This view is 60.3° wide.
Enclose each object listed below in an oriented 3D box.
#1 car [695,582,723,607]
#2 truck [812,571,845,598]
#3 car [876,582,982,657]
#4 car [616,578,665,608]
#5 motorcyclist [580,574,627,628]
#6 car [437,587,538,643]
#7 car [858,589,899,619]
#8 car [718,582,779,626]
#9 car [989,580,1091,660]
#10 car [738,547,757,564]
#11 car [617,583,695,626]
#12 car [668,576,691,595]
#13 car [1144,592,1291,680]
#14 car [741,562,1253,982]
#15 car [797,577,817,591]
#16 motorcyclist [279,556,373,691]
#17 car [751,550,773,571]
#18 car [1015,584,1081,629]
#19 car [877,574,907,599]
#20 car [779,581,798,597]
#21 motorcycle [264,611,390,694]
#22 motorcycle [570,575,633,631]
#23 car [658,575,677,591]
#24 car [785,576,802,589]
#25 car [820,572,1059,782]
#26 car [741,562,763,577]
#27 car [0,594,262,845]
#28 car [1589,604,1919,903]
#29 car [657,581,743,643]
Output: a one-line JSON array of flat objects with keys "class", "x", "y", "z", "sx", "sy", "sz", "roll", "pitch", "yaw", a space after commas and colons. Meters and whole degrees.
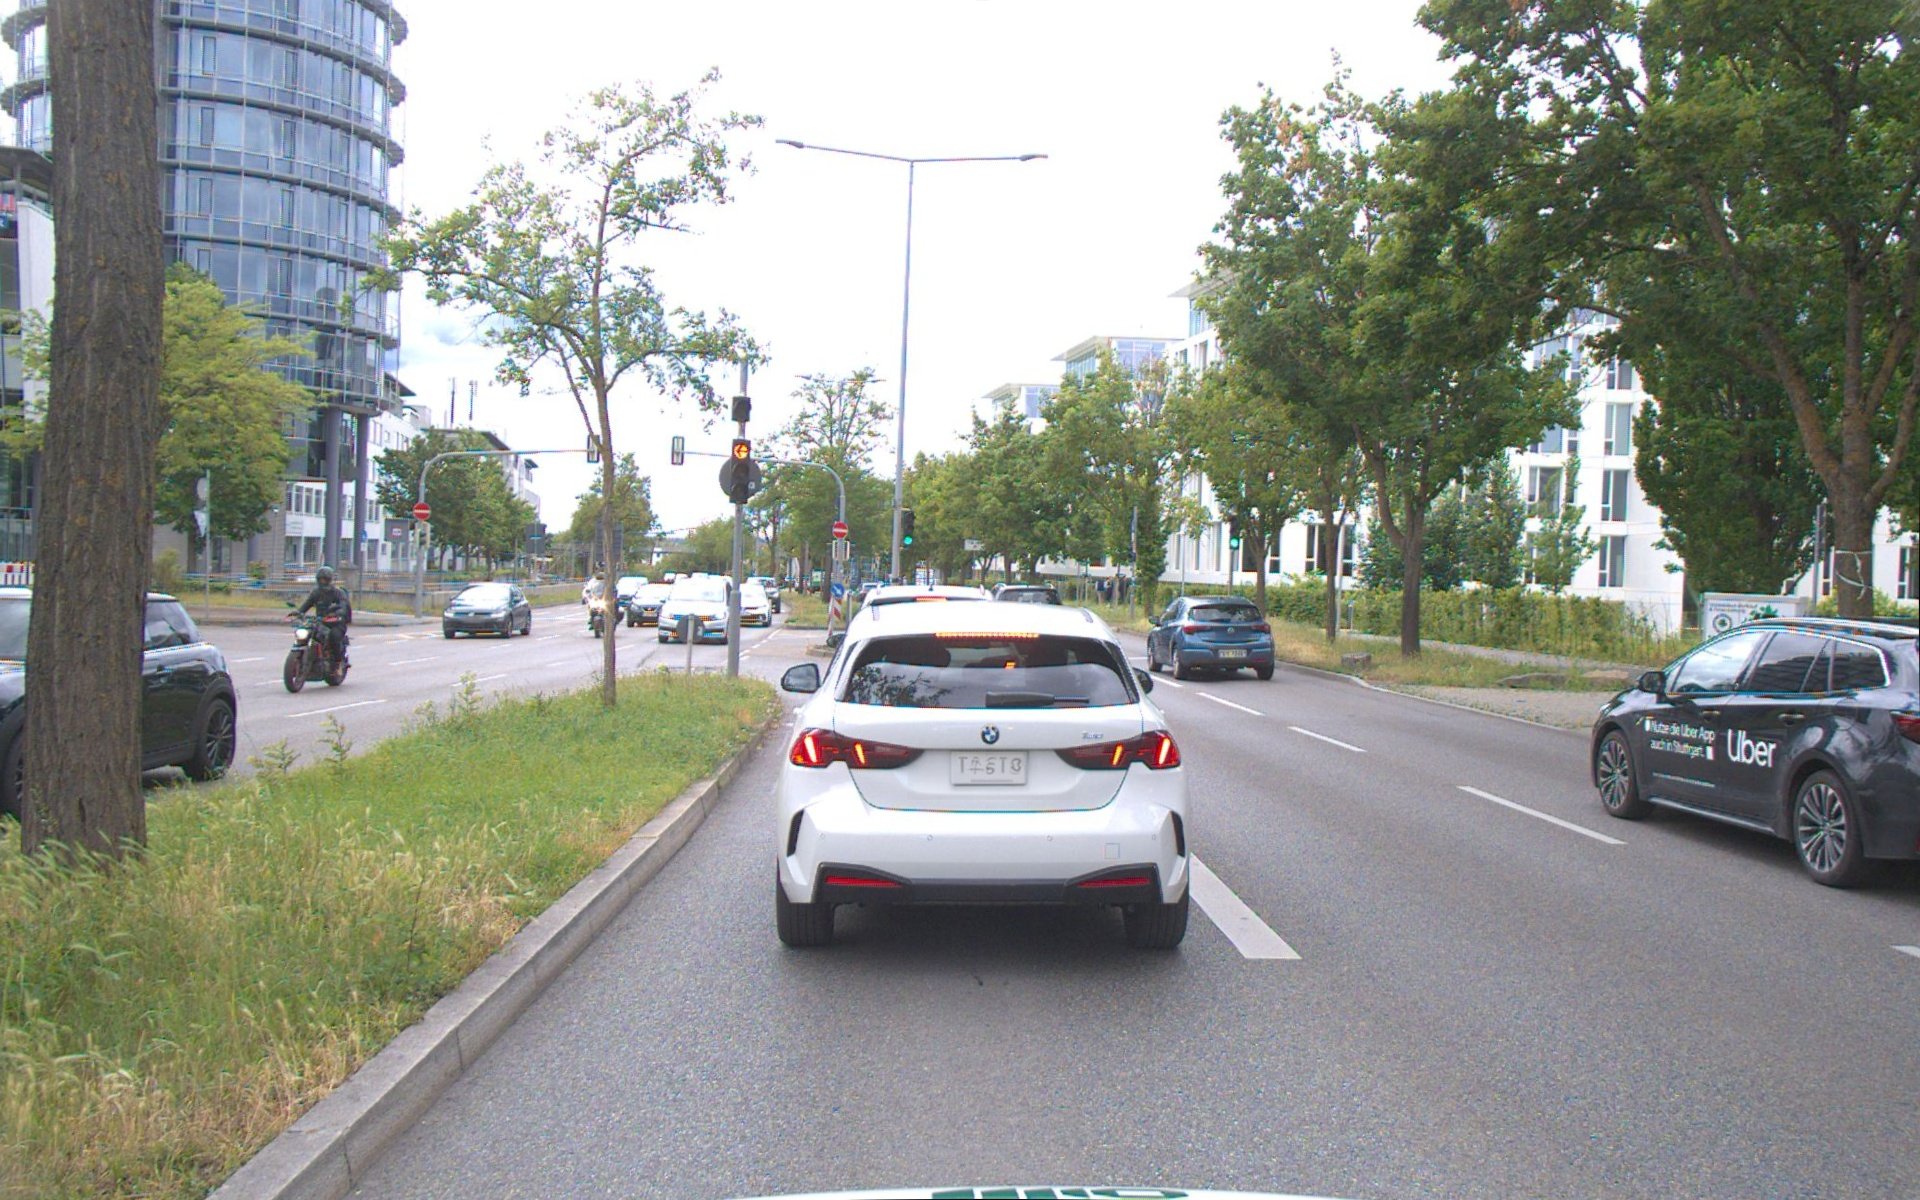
[{"class": "car", "x": -21.710, "y": -0.480, "z": 143.081, "sx": 1.954, "sy": 2.046, "sz": 4.321, "roll": 1, "pitch": 0, "yaw": -4}, {"class": "truck", "x": -13.299, "y": -1.503, "z": 166.848, "sx": 2.806, "sy": 2.563, "sz": 6.275, "roll": 2, "pitch": 0, "yaw": -9}, {"class": "car", "x": -0.628, "y": 0.416, "z": 37.156, "sx": 1.951, "sy": 1.534, "sz": 4.002, "roll": 2, "pitch": 0, "yaw": 5}, {"class": "car", "x": -15.469, "y": -0.343, "z": 80.284, "sx": 1.673, "sy": 1.443, "sz": 3.802, "roll": 0, "pitch": 0, "yaw": -1}, {"class": "motorcyclist", "x": -9.659, "y": 0.019, "z": 44.909, "sx": 0.891, "sy": 1.416, "sz": 1.673, "roll": 1, "pitch": 0, "yaw": -1}, {"class": "car", "x": -12.694, "y": 0.378, "z": 44.652, "sx": 1.673, "sy": 1.443, "sz": 3.802, "roll": 0, "pitch": 0, "yaw": -1}, {"class": "car", "x": -4.710, "y": 0.187, "z": 94.816, "sx": 2.014, "sy": 1.511, "sz": 4.967, "roll": -3, "pitch": 1, "yaw": -6}, {"class": "car", "x": -7.316, "y": 0.112, "z": 57.517, "sx": 1.633, "sy": 1.429, "sz": 3.999, "roll": 1, "pitch": 0, "yaw": -1}, {"class": "car", "x": 1.710, "y": 0.414, "z": 36.852, "sx": 1.927, "sy": 1.669, "sz": 4.311, "roll": 0, "pitch": 0, "yaw": -2}, {"class": "car", "x": -27.783, "y": -5.815, "z": 216.550, "sx": 1.953, "sy": 2.048, "sz": 3.999, "roll": 3, "pitch": 0, "yaw": -1}, {"class": "car", "x": -10.346, "y": 0.126, "z": 56.480, "sx": 1.953, "sy": 1.378, "sz": 3.999, "roll": 1, "pitch": 0, "yaw": -1}, {"class": "car", "x": -30.489, "y": -1.549, "z": 179.807, "sx": 1.954, "sy": 2.046, "sz": 4.321, "roll": 1, "pitch": 0, "yaw": -4}, {"class": "car", "x": 4.658, "y": 0.605, "z": 30.524, "sx": 1.927, "sy": 1.464, "sz": 4.311, "roll": -1, "pitch": 0, "yaw": -2}, {"class": "car", "x": 0.188, "y": 0.630, "z": 8.017, "sx": 1.824, "sy": 1.474, "sz": 4.001, "roll": 2, "pitch": 0, "yaw": 1}, {"class": "car", "x": -16.894, "y": -1.771, "z": 182.616, "sx": 1.956, "sy": 1.534, "sz": 3.993, "roll": 1, "pitch": 0, "yaw": -8}, {"class": "motorcyclist", "x": -9.109, "y": 0.329, "z": 23.801, "sx": 0.831, "sy": 1.869, "sz": 1.259, "roll": 1, "pitch": 0, "yaw": -1}, {"class": "car", "x": -20.771, "y": -4.125, "z": 174.018, "sx": 1.954, "sy": 2.045, "sz": 4.321, "roll": 3, "pitch": 0, "yaw": -4}, {"class": "car", "x": 3.130, "y": 0.220, "z": 59.595, "sx": 1.758, "sy": 1.498, "sz": 4.695, "roll": 2, "pitch": 0, "yaw": -4}, {"class": "car", "x": -4.805, "y": -0.952, "z": 116.219, "sx": 1.954, "sy": 1.624, "sz": 3.997, "roll": 2, "pitch": 0, "yaw": -4}, {"class": "car", "x": -21.912, "y": -1.394, "z": 211.165, "sx": 1.953, "sy": 2.049, "sz": 3.999, "roll": 1, "pitch": 0, "yaw": -1}, {"class": "motorcycle", "x": -9.149, "y": 0.730, "z": 24.025, "sx": 0.821, "sy": 1.083, "sz": 2.652, "roll": 1, "pitch": 0, "yaw": -1}, {"class": "motorcycle", "x": -9.674, "y": 0.071, "z": 44.853, "sx": 0.871, "sy": 1.422, "sz": 3.999, "roll": 1, "pitch": 0, "yaw": -1}, {"class": "car", "x": -38.872, "y": -2.242, "z": 220.225, "sx": 1.954, "sy": 2.046, "sz": 4.321, "roll": 1, "pitch": 0, "yaw": -4}, {"class": "car", "x": -21.616, "y": -2.274, "z": 214.477, "sx": 1.957, "sy": 1.534, "sz": 3.991, "roll": 1, "pitch": 0, "yaw": -9}, {"class": "car", "x": -0.171, "y": 0.651, "z": 15.827, "sx": 1.953, "sy": 1.701, "sz": 4.000, "roll": 2, "pitch": 0, "yaw": 0}, {"class": "car", "x": -24.003, "y": -3.522, "z": 190.934, "sx": 1.953, "sy": 1.646, "sz": 3.999, "roll": 3, "pitch": 0, "yaw": -1}, {"class": "car", "x": -6.304, "y": 0.671, "z": 11.039, "sx": 1.718, "sy": 1.395, "sz": 3.779, "roll": 0, "pitch": 0, "yaw": -1}, {"class": "car", "x": 5.582, "y": 0.788, "z": 10.053, "sx": 1.728, "sy": 1.474, "sz": 4.419, "roll": 2, "pitch": 0, "yaw": -1}, {"class": "car", "x": -6.726, "y": 0.294, "z": 43.081, "sx": 1.673, "sy": 1.523, "sz": 3.802, "roll": 0, "pitch": 0, "yaw": -1}]
